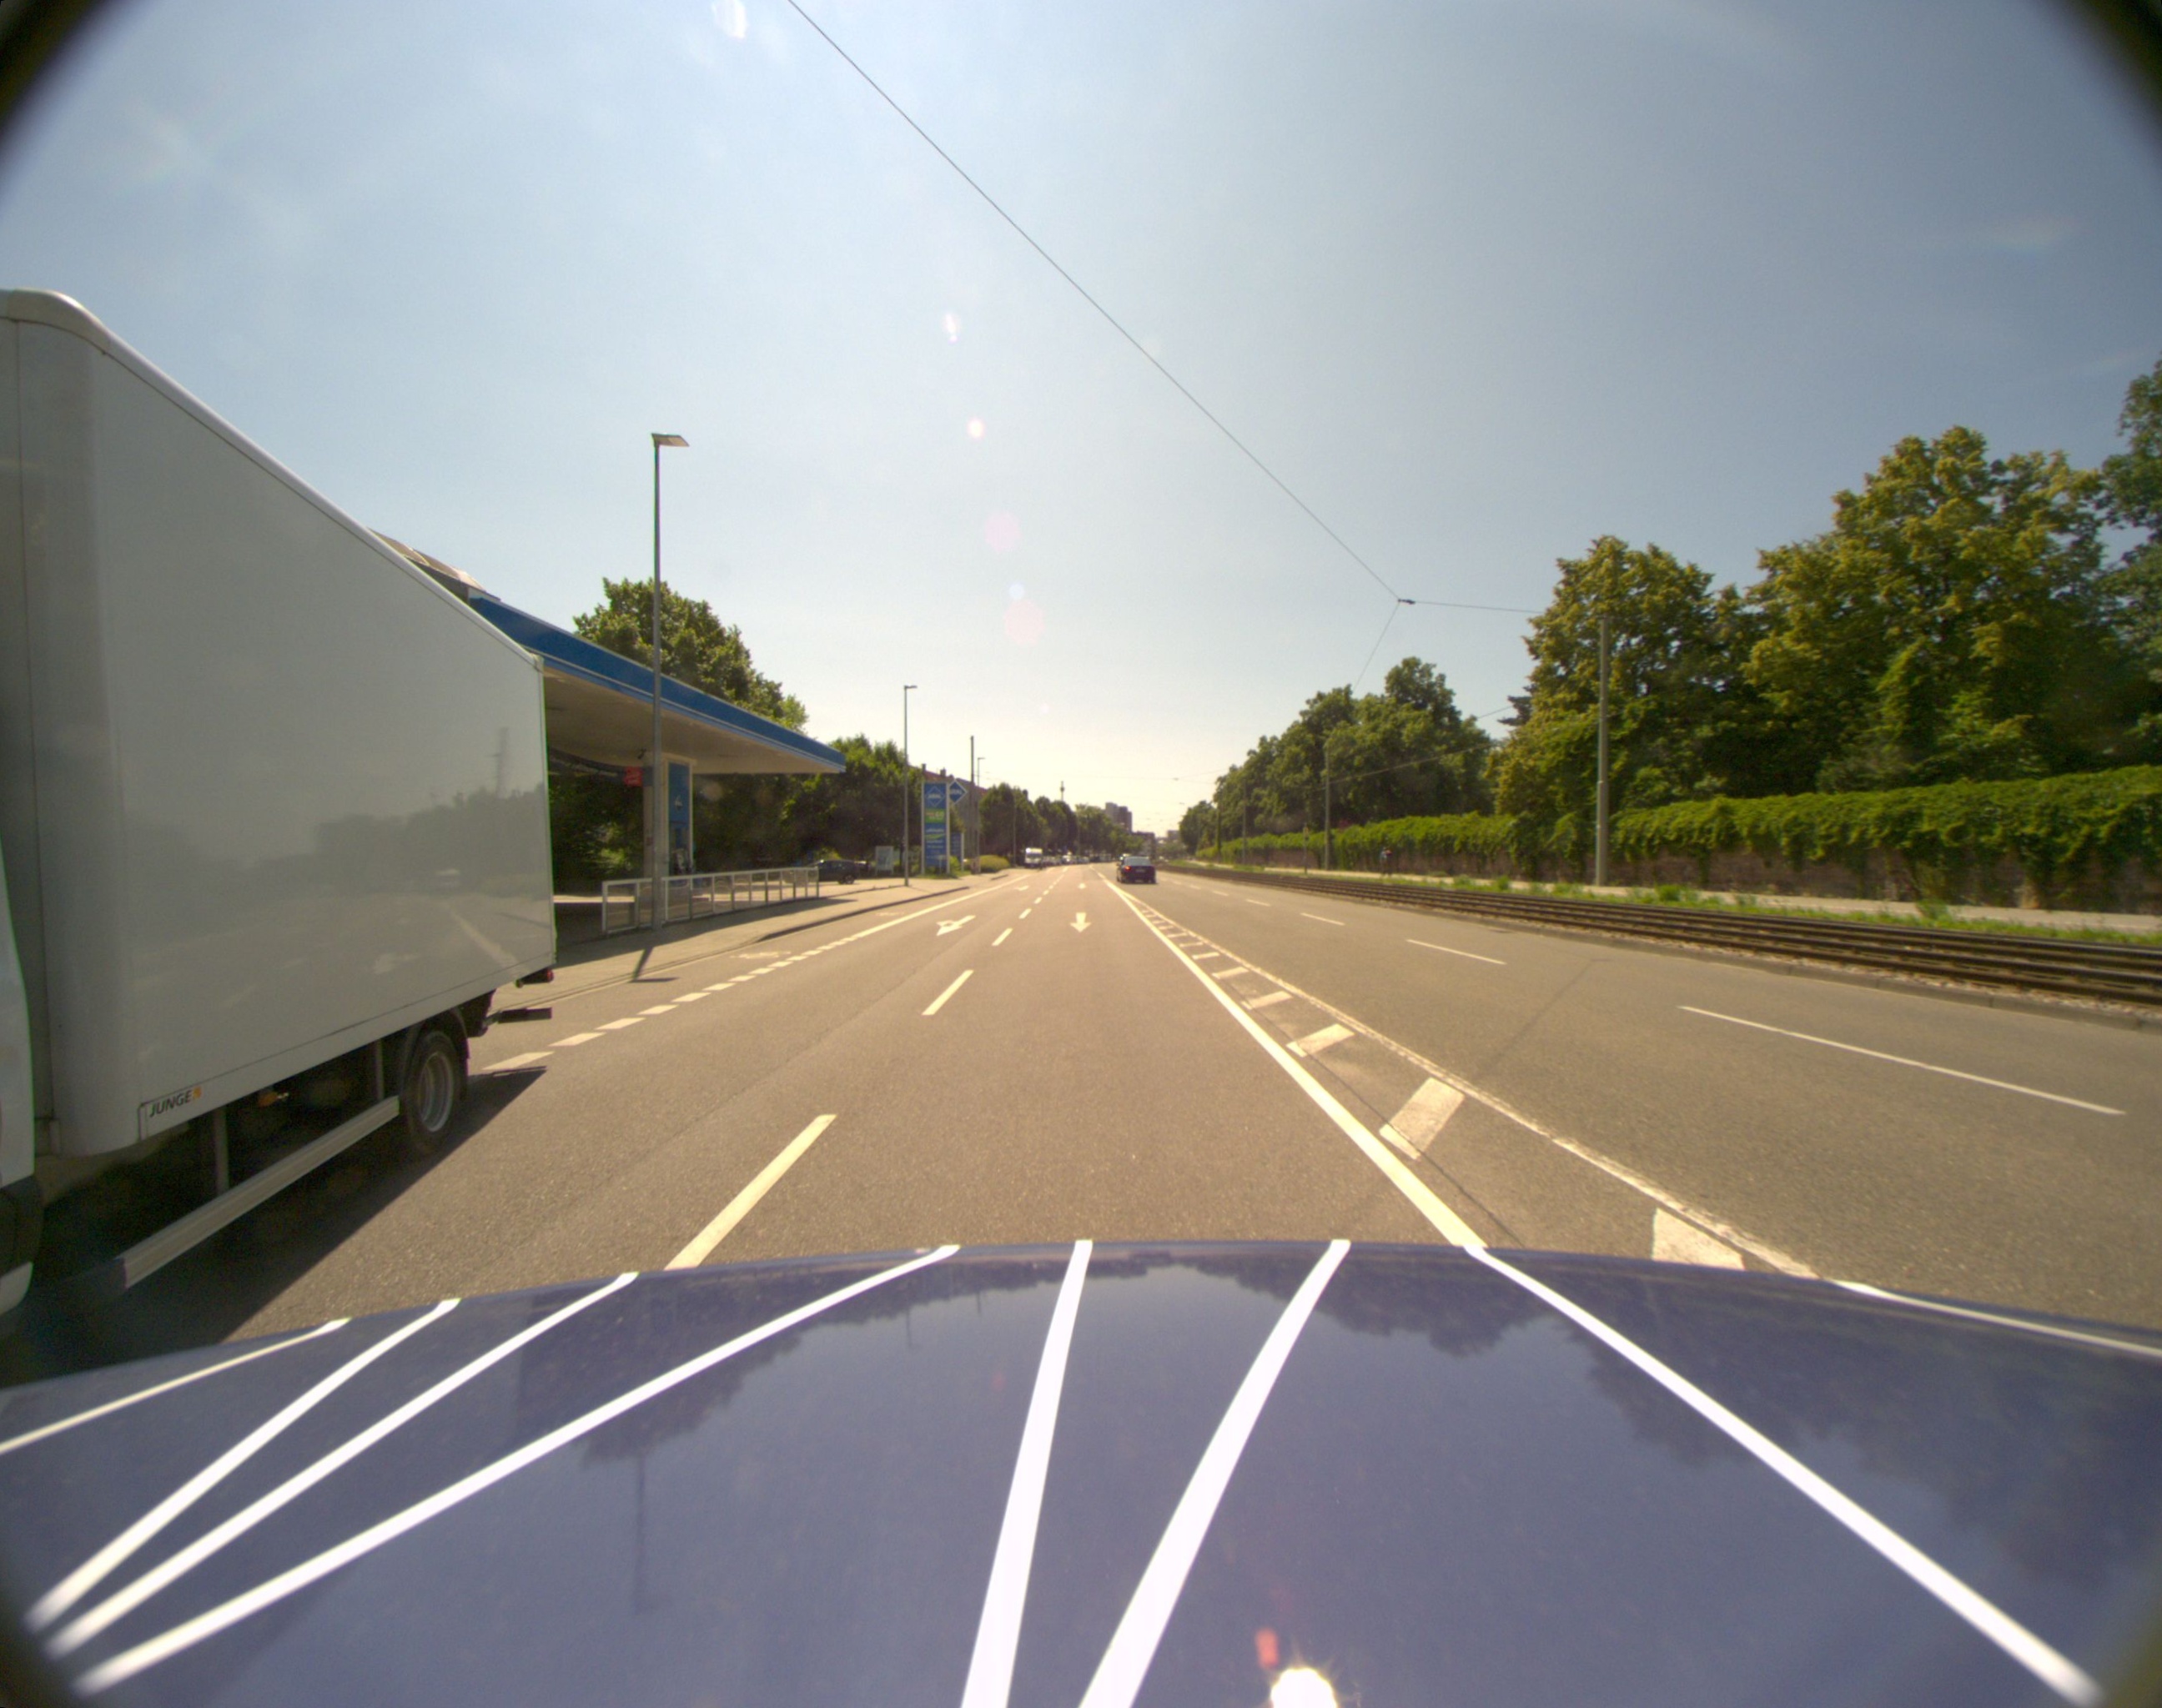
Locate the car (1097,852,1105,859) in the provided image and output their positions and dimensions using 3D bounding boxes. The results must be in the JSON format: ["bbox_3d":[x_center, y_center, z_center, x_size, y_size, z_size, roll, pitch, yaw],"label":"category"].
[{"bbox_3d":[5.103,0.303,192.226,1.998,1.718,4.000,-1,0,0],"label":"car"}]

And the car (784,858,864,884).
[{"bbox_3d":[-14.971,0.938,44.330,4.149,1.413,1.714,-1,0,-34],"label":"car"}]

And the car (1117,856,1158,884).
[{"bbox_3d":[3.033,0.828,41.715,1.798,1.391,4.447,-1,0,-2],"label":"car"}]

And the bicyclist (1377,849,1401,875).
[{"bbox_3d":[17.708,0.433,43.731,0.997,1.477,1.000,-1,1,2],"label":"bicyclist"}]

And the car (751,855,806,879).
[{"bbox_3d":[-22.464,0.931,56.612,1.998,1.653,4.411,0,1,5],"label":"car"}]

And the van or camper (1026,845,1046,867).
[{"bbox_3d":[-5.404,0.216,92.555,2.126,2.469,5.992,2,0,-1],"label":"van or camper"}]

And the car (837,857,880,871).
[{"bbox_3d":[-25.264,1.152,86.212,4.221,1.512,2.001,-1,0,8],"label":"car"}]

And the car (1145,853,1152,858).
[{"bbox_3d":[20.133,0.403,225.992,1.695,1.460,4.003,0,0,9],"label":"car"}]

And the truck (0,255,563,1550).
[{"bbox_3d":[-4.245,0.120,2.358,2.430,3.372,7.820,-1,0,-20],"label":"truck"}]

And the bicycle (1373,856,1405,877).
[{"bbox_3d":[17.724,0.716,43.789,0.830,1.149,2.686,-1,0,3],"label":"bicycle"}]

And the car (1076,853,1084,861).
[{"bbox_3d":[-0.197,0.628,161.254,1.807,1.585,4.000,-1,0,1],"label":"car"}]

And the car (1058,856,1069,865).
[{"bbox_3d":[-3.203,1.135,141.221,1.725,1.586,4.001,-1,0,3],"label":"car"}]
